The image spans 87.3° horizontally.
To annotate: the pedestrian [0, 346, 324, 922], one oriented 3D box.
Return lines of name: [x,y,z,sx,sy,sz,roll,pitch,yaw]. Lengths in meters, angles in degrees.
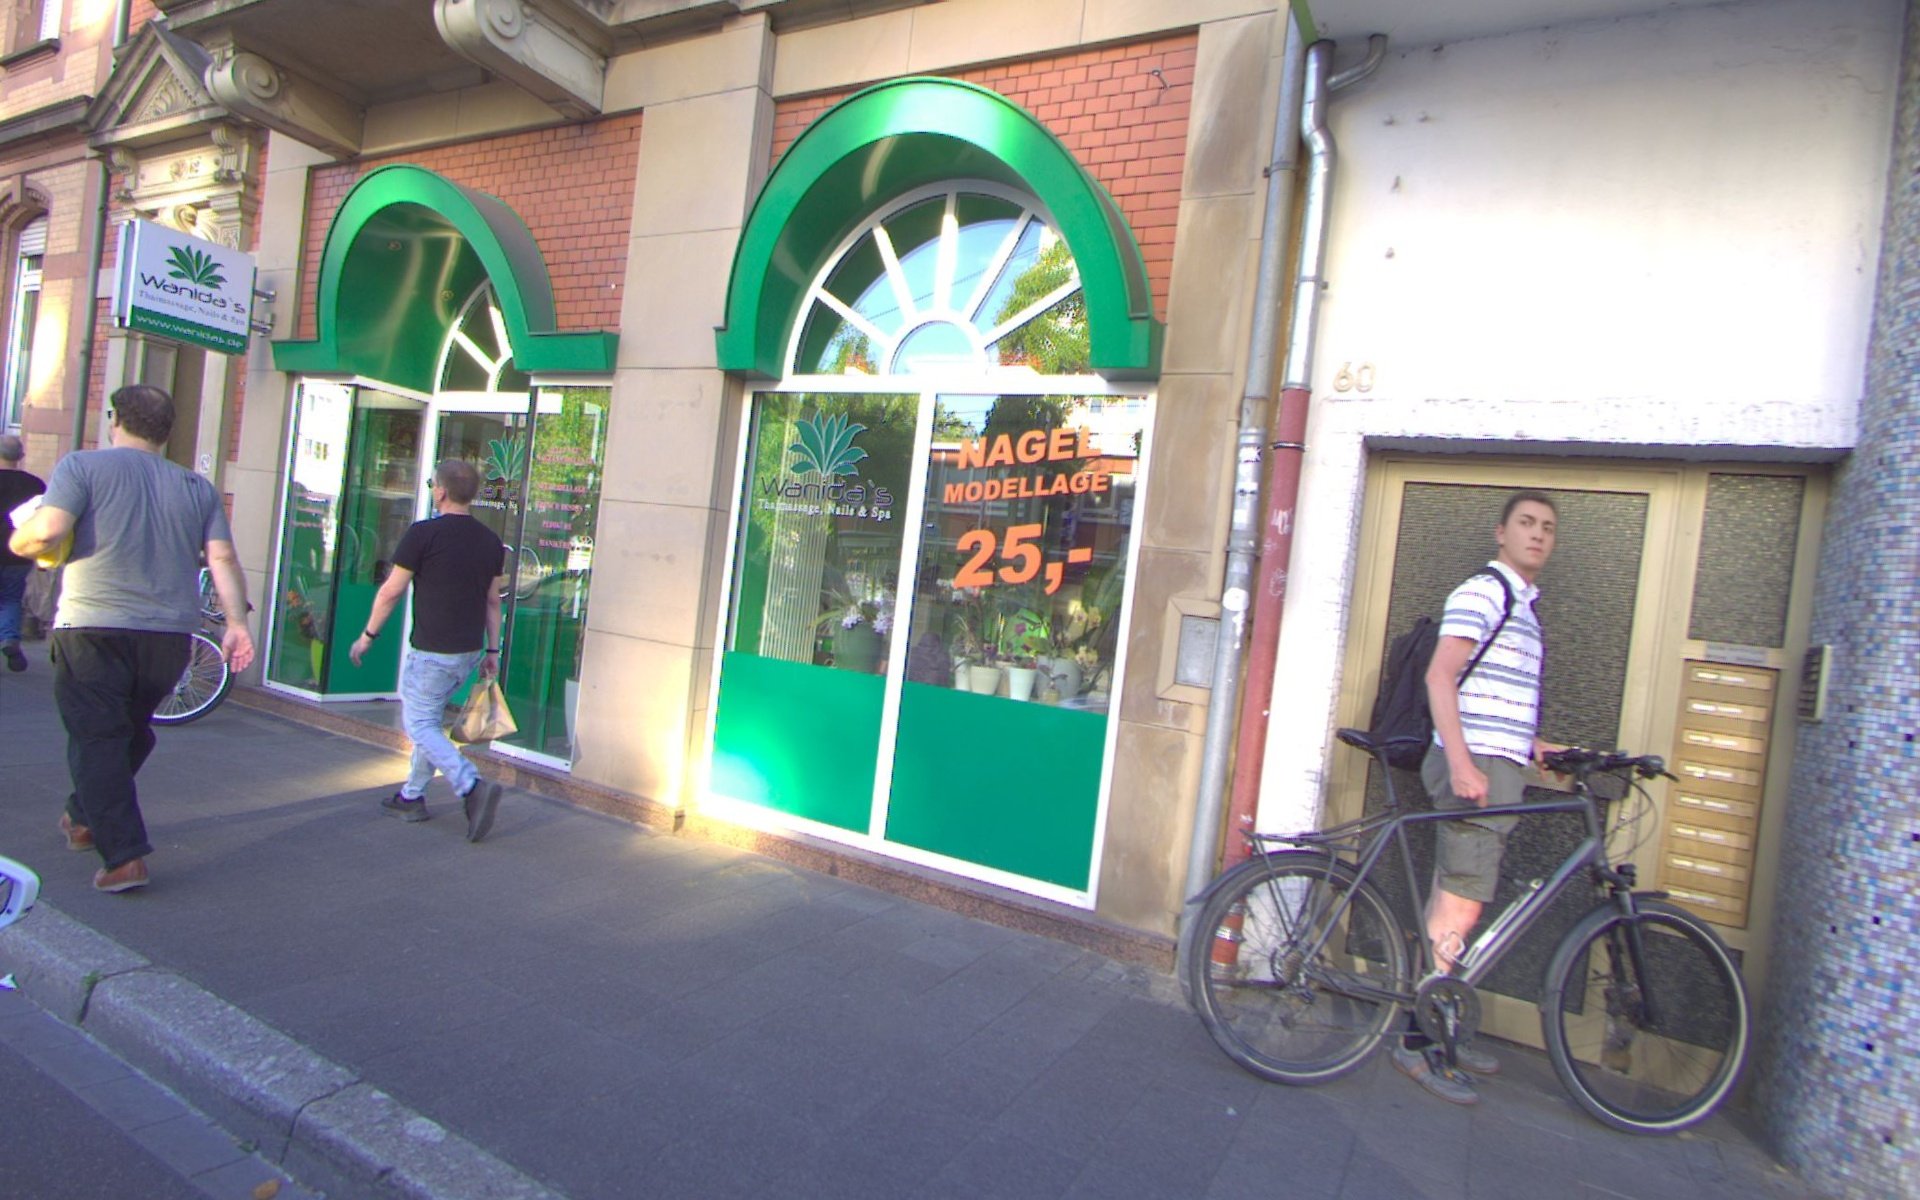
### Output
pedestrian: [-3.152,0.102,3.868,0.741,1.919,0.822,7,2,29]

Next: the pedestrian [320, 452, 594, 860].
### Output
pedestrian: [-2.405,0.238,4.847,0.741,1.746,0.776,7,2,29]

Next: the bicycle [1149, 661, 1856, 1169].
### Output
bicycle: [1.687,0.966,3.376,1.859,1.269,0.668,7,1,2]

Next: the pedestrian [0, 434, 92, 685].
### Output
pedestrian: [-6.951,-0.309,7.238,0.741,1.746,0.776,7,2,29]

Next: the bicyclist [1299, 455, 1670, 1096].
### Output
bicyclist: [1.718,0.548,3.412,0.730,1.906,0.600,7,1,3]

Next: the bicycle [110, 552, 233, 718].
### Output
bicycle: [-5.545,0.221,7.051,1.222,1.009,0.344,7,2,38]
